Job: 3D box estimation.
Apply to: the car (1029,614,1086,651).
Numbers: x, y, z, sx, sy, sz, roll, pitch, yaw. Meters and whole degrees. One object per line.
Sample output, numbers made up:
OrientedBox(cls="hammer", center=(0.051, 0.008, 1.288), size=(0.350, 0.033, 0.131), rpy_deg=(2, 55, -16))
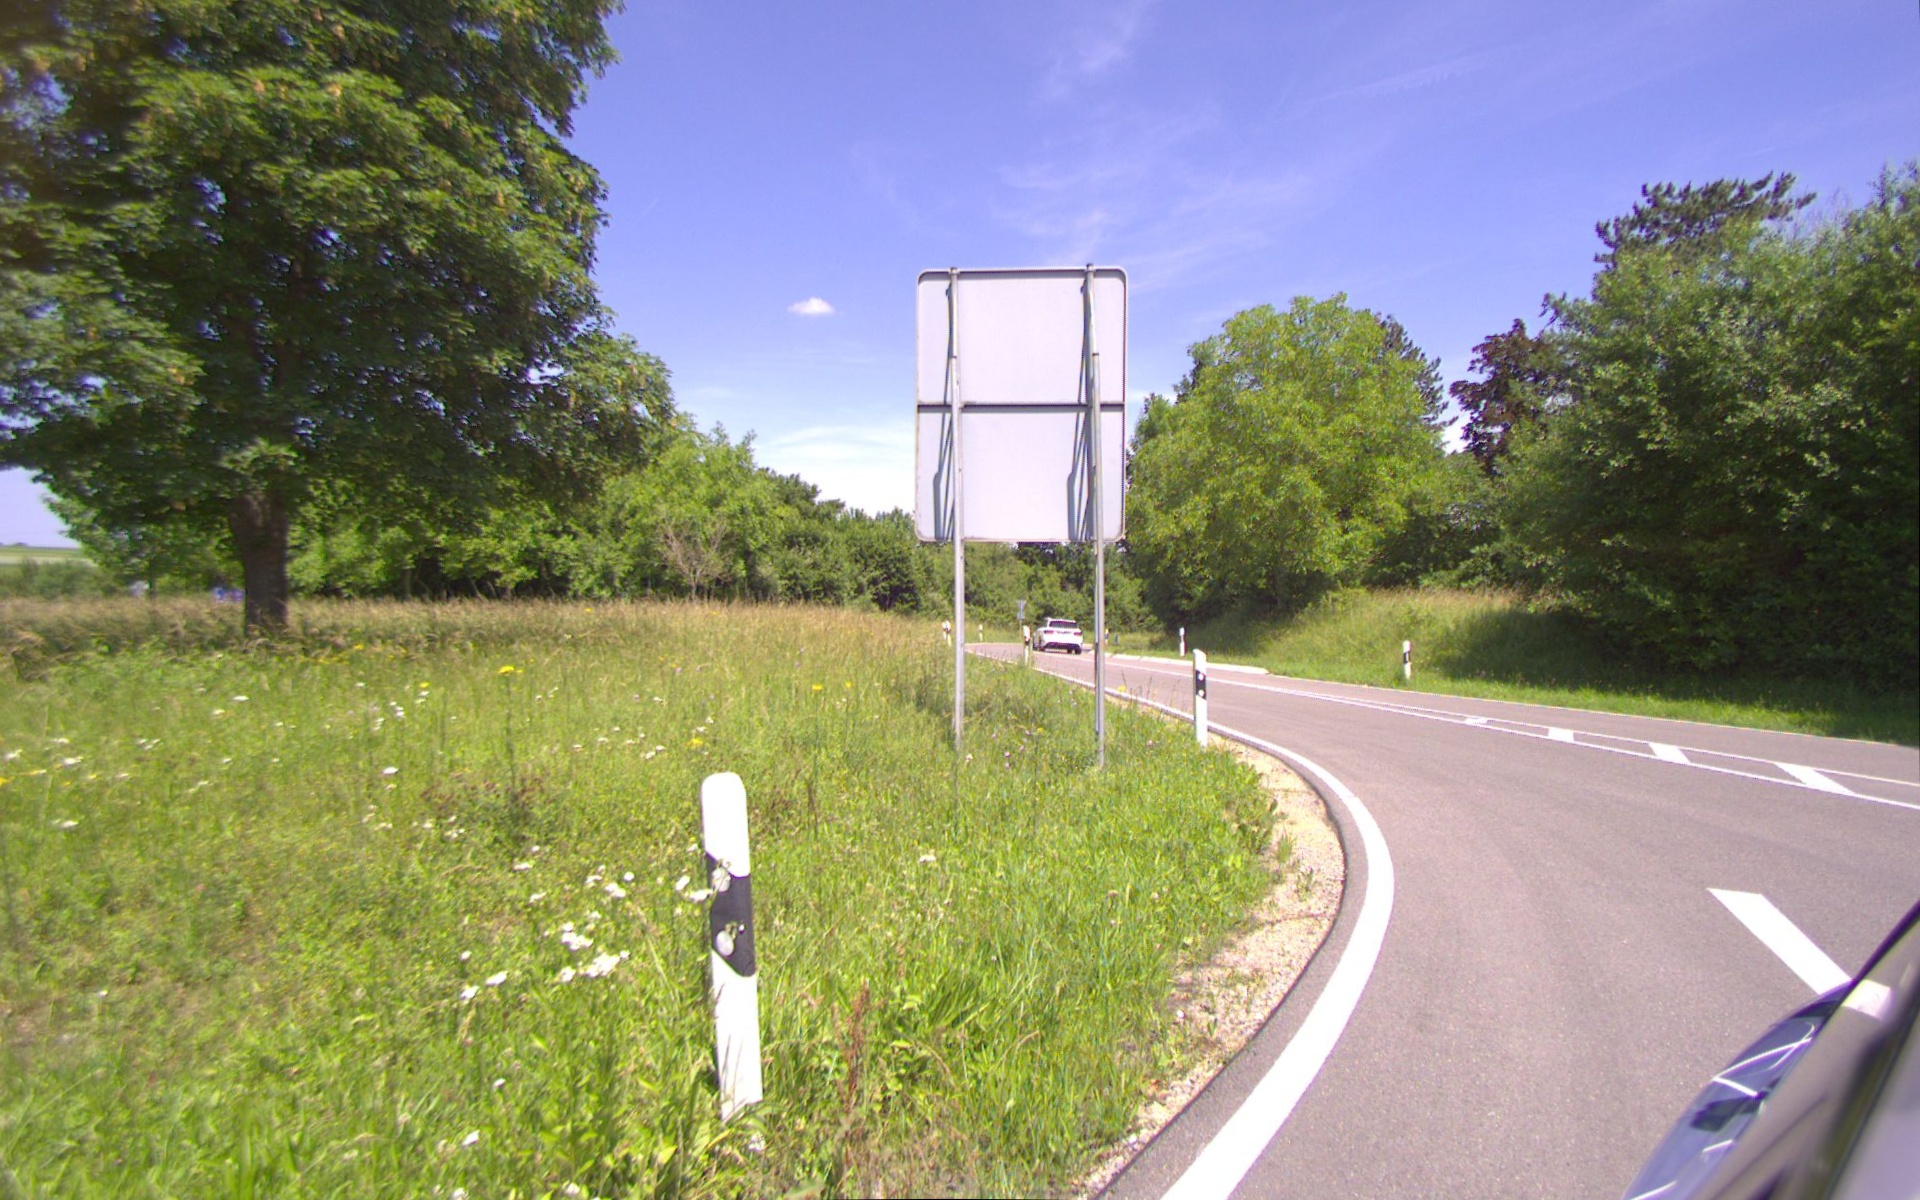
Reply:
OrientedBox(cls="car", center=(4.103, 1.366, 43.438), size=(1.775, 1.430, 5.334), rpy_deg=(3, -1, -1))

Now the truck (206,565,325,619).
OrientedBox(cls="truck", center=(-60.251, -0.622, 88.503), size=(2.792, 4.184, 16.844), rpy_deg=(1, 0, -14))
